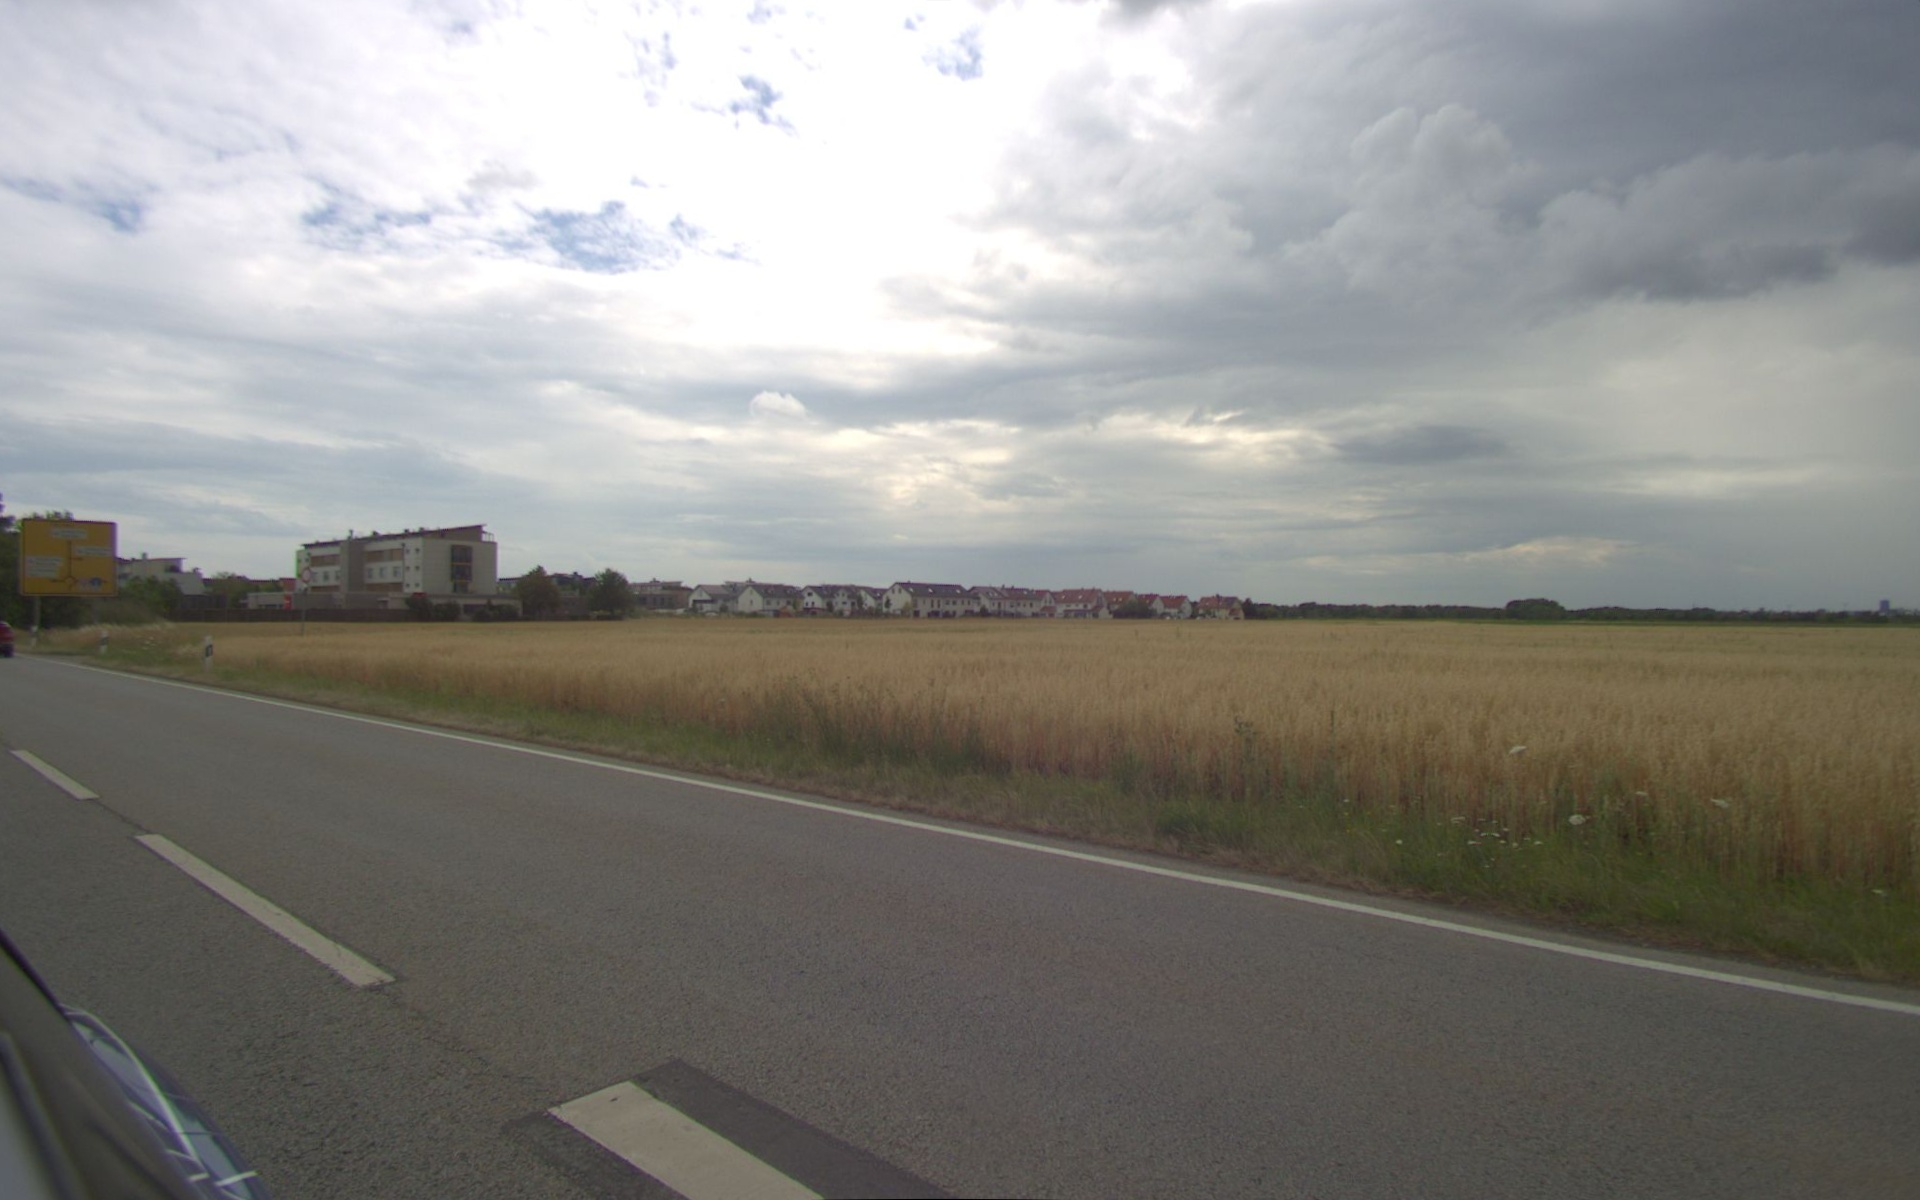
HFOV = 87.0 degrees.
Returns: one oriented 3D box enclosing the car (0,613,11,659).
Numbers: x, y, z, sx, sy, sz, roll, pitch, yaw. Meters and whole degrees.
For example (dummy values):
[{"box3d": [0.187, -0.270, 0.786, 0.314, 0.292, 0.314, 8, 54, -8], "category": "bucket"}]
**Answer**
[{"box3d": [-33.659, 1.210, 34.308, 4.606, 1.500, 1.694, -1, -2, 41], "category": "car"}]
